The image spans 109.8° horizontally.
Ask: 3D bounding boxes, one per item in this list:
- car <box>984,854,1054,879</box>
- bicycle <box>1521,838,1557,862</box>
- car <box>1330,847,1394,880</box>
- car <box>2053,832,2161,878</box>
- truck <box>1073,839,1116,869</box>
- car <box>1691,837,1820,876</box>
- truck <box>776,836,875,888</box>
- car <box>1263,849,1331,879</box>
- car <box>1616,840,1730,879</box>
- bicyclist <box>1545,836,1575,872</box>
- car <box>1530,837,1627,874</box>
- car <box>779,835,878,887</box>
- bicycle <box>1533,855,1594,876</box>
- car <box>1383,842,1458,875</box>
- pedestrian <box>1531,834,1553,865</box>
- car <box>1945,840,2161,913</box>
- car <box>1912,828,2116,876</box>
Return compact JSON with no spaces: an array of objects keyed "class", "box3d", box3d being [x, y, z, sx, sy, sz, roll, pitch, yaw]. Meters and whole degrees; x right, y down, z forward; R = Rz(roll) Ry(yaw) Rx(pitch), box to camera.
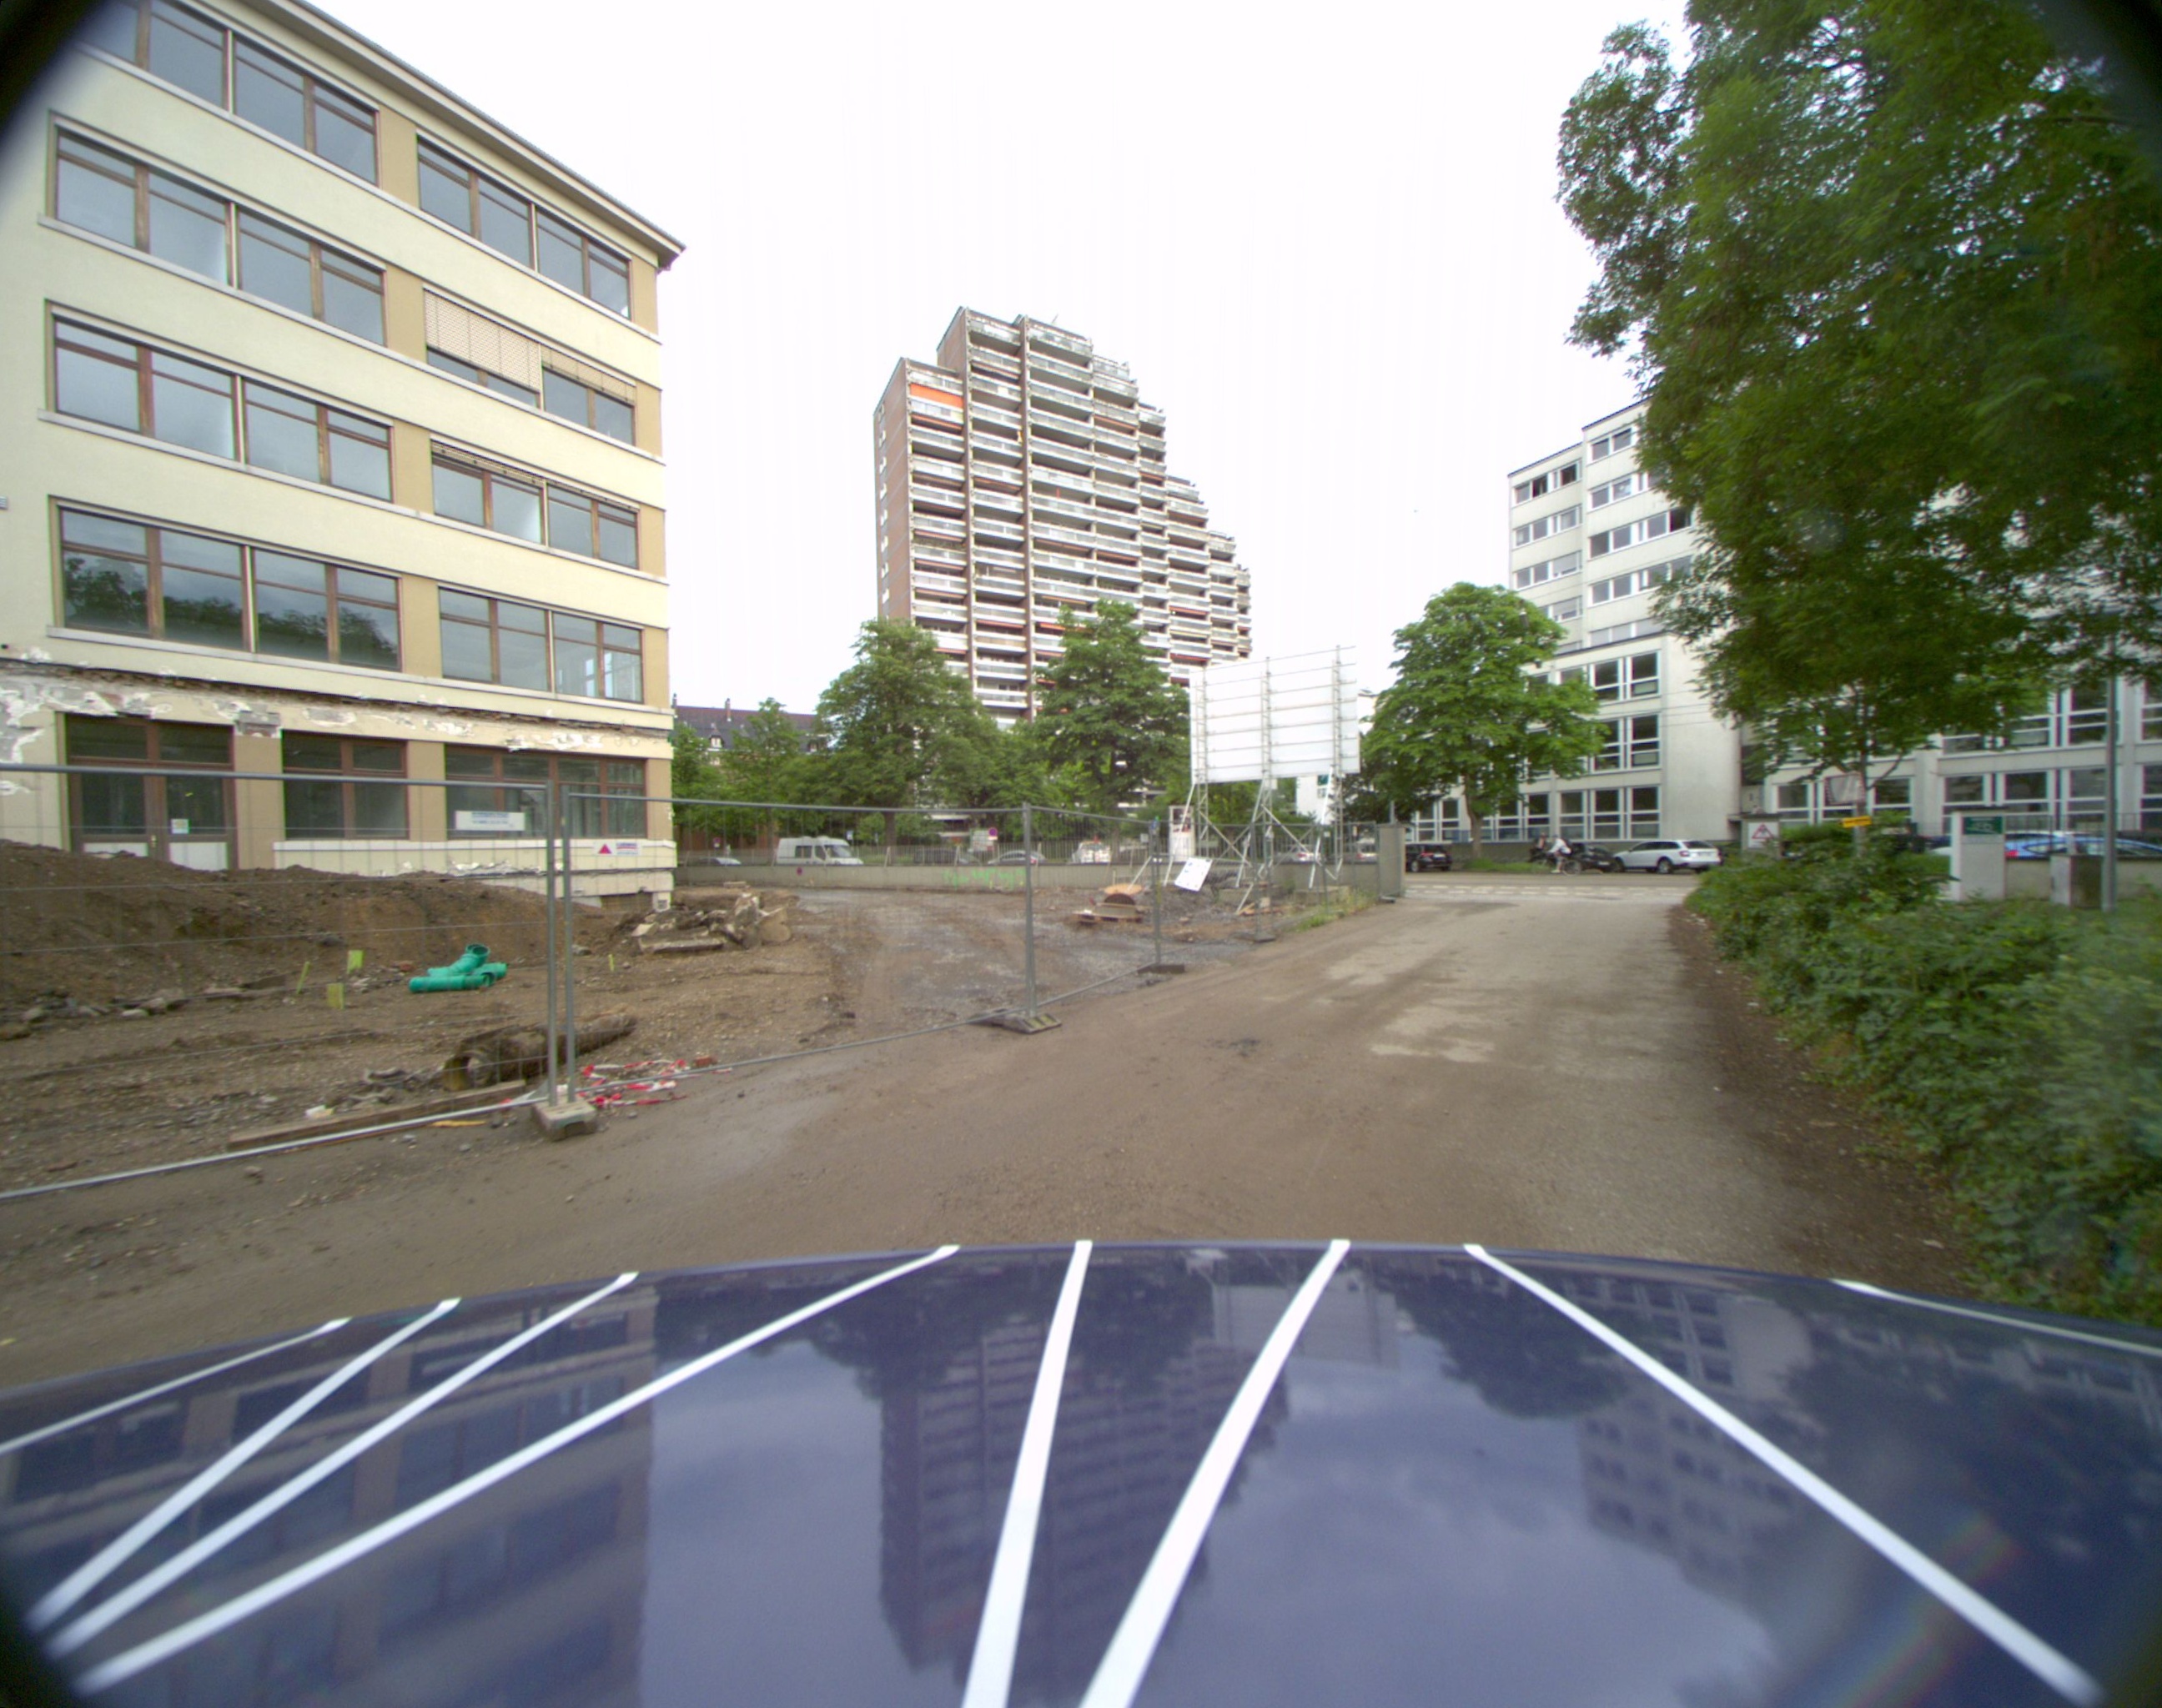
[{"class":"car","box3d":[-3.736,0.722,45.794,3.989,1.421,1.750,-1,1,35]},{"class":"bicycle","box3d":[24.417,-0.189,40.496,1.591,1.261,0.407,0,2,45]},{"class":"car","box3d":[14.739,0.454,40.024,1.573,1.515,3.647,-2,2,-9]},{"class":"car","box3d":[36.020,0.016,25.209,1.700,1.446,4.341,-2,2,-10]},{"class":"truck","box3d":[0.829,-0.046,50.439,2.000,1.838,5.058,-2,2,-9]},{"class":"car","box3d":[27.857,0.054,31.574,1.699,1.398,4.026,-2,2,-2]},{"class":"truck","box3d":[-13.798,0.388,40.902,5.476,2.588,2.123,-1,2,35]},{"class":"car","box3d":[11.940,0.519,42.300,1.804,1.456,4.426,-2,2,-12]},{"class":"car","box3d":[25.464,0.174,32.878,1.699,1.476,4.026,-2,2,-2]},{"class":"bicyclist","box3d":[19.931,0.000,31.643,1.024,1.492,0.847,0,1,31]},{"class":"car","box3d":[22.795,0.018,34.993,1.700,1.515,3.701,-2,2,-9]},{"class":"car","box3d":[-13.666,0.360,40.946,5.476,2.588,2.123,-1,2,35]},{"class":"bicycle","box3d":[19.978,0.483,31.519,2.132,0.864,0.471,-1,1,31]},{"class":"car","box3d":[17.030,0.185,38.337,1.700,1.515,3.701,-2,2,-9]},{"class":"pedestrian","box3d":[24.789,-0.273,40.829,0.735,1.603,0.753,-4,5,-34]},{"class":"car","box3d":[21.368,0.448,16.314,3.423,1.452,1.683,-1,0,35]},{"class":"car","box3d":[33.455,-0.141,27.456,1.700,1.547,4.340,-2,2,-13]}]
